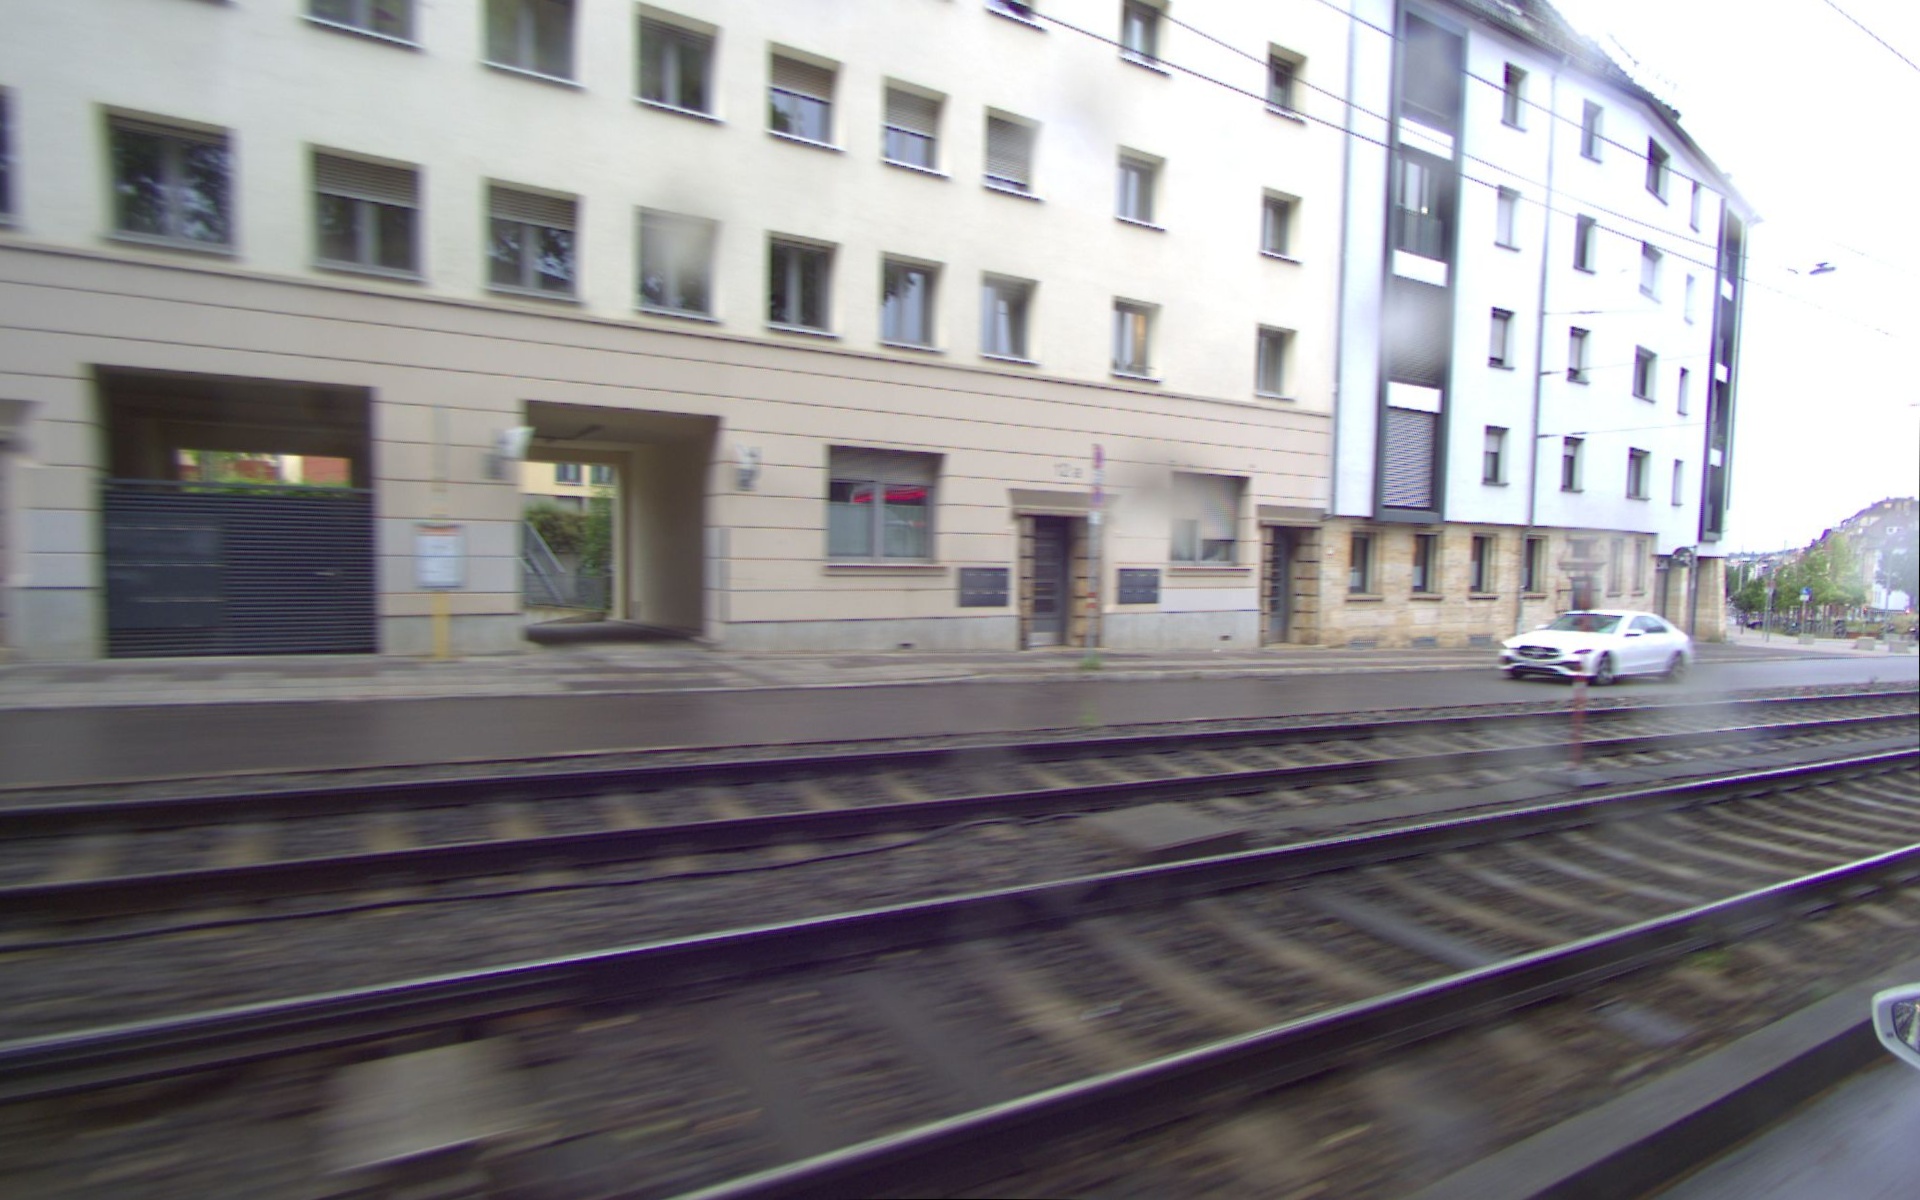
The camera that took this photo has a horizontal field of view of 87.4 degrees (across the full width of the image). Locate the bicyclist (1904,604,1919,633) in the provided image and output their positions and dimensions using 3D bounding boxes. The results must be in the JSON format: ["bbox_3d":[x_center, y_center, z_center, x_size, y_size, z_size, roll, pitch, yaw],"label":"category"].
[{"bbox_3d":[44.707,0.865,46.823,0.759,1.331,0.791,1,1,22],"label":"bicyclist"}]

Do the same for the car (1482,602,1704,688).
[{"bbox_3d":[12.935,0.891,20.453,4.783,1.502,1.790,2,2,-30],"label":"car"}]

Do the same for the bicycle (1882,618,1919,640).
[{"bbox_3d":[44.580,1.368,46.921,2.064,0.955,0.815,2,1,22],"label":"bicycle"}]

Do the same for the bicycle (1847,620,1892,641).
[{"bbox_3d":[52.088,1.766,57.554,0.564,1.075,1.802,1,2,-33],"label":"bicycle"}]
